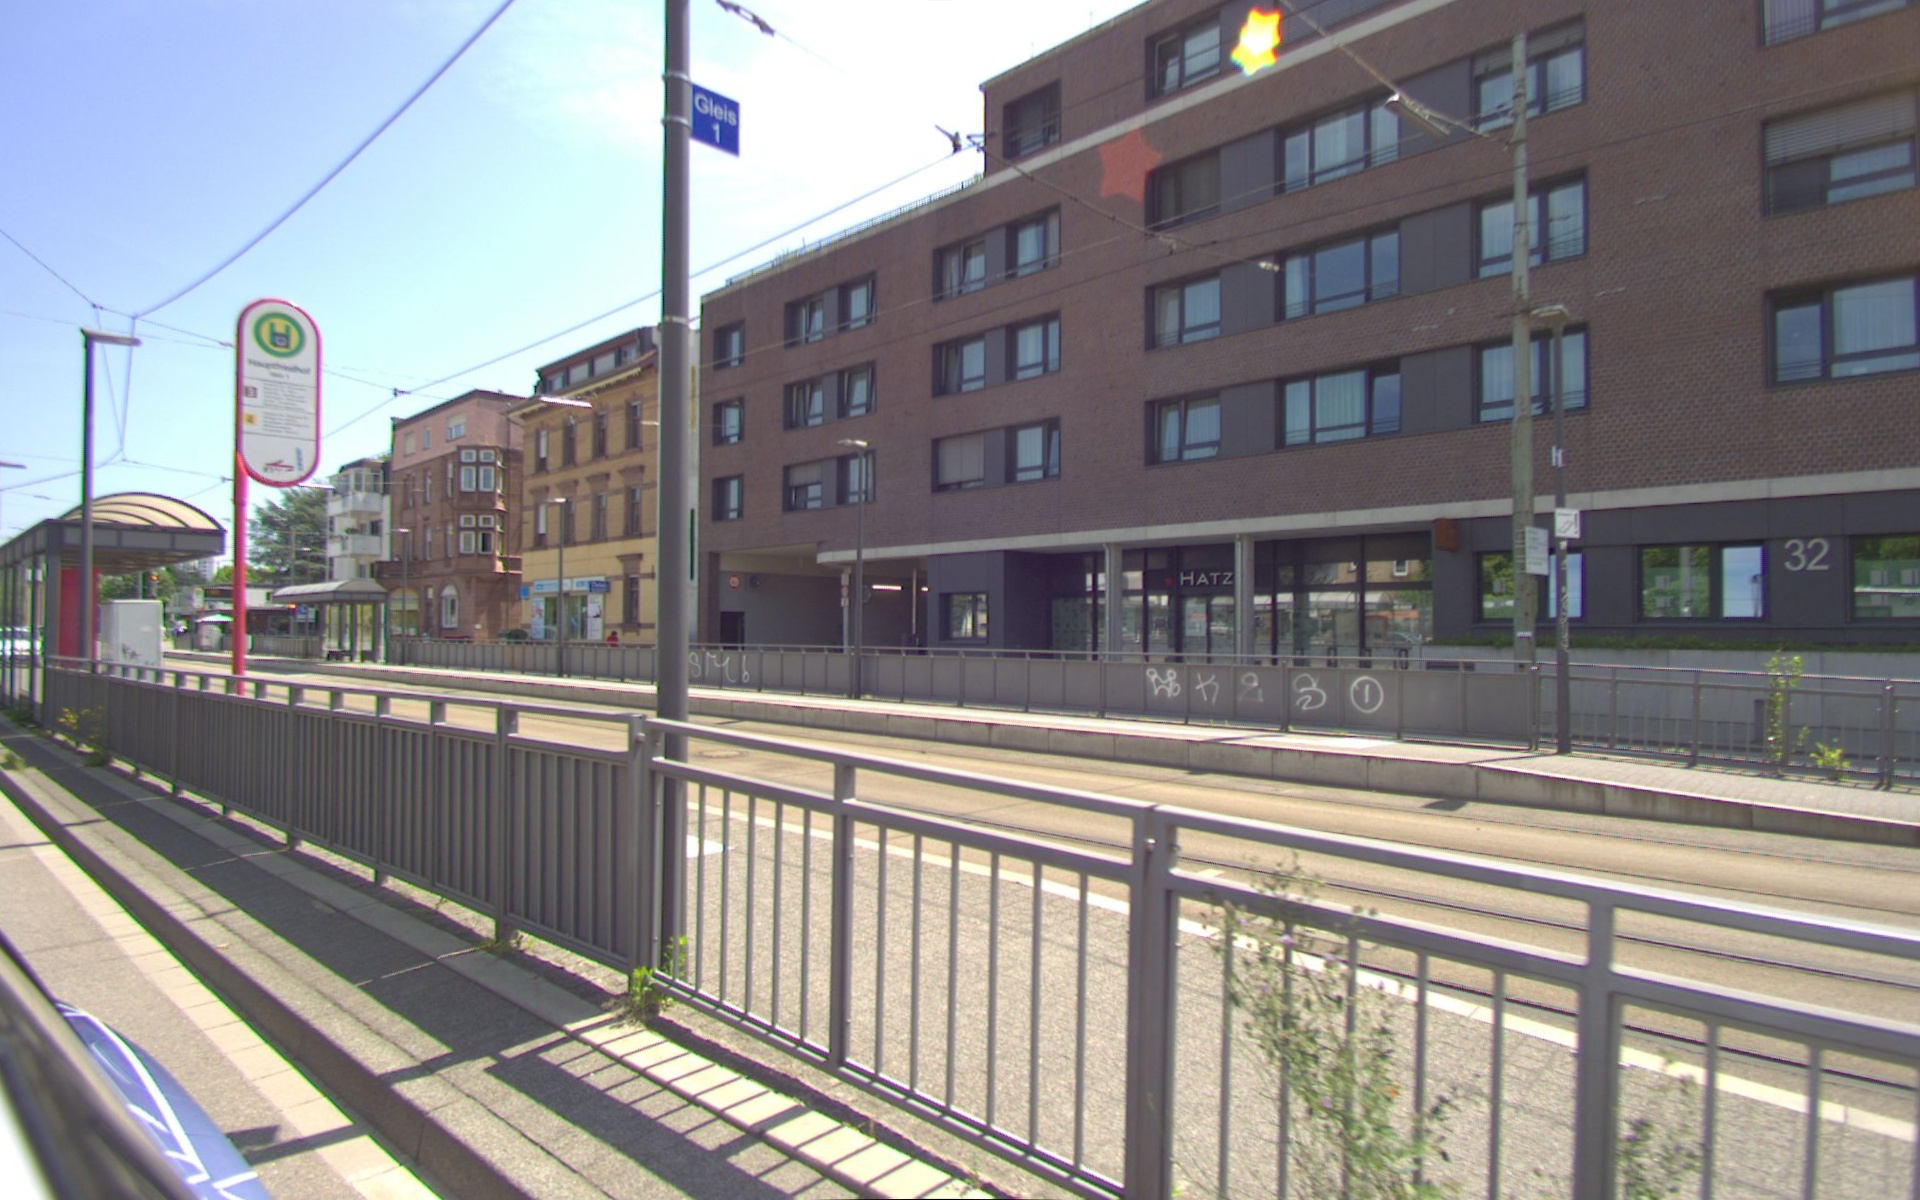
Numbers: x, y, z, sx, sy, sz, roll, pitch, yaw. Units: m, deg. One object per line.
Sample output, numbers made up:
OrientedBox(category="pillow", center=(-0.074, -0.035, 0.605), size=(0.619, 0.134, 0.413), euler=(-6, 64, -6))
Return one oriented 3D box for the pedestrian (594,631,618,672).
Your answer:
OrientedBox(category="pedestrian", center=(-13.844, 2.001, 39.588), size=(0.715, 1.608, 0.597), euler=(-2, -2, 41))
